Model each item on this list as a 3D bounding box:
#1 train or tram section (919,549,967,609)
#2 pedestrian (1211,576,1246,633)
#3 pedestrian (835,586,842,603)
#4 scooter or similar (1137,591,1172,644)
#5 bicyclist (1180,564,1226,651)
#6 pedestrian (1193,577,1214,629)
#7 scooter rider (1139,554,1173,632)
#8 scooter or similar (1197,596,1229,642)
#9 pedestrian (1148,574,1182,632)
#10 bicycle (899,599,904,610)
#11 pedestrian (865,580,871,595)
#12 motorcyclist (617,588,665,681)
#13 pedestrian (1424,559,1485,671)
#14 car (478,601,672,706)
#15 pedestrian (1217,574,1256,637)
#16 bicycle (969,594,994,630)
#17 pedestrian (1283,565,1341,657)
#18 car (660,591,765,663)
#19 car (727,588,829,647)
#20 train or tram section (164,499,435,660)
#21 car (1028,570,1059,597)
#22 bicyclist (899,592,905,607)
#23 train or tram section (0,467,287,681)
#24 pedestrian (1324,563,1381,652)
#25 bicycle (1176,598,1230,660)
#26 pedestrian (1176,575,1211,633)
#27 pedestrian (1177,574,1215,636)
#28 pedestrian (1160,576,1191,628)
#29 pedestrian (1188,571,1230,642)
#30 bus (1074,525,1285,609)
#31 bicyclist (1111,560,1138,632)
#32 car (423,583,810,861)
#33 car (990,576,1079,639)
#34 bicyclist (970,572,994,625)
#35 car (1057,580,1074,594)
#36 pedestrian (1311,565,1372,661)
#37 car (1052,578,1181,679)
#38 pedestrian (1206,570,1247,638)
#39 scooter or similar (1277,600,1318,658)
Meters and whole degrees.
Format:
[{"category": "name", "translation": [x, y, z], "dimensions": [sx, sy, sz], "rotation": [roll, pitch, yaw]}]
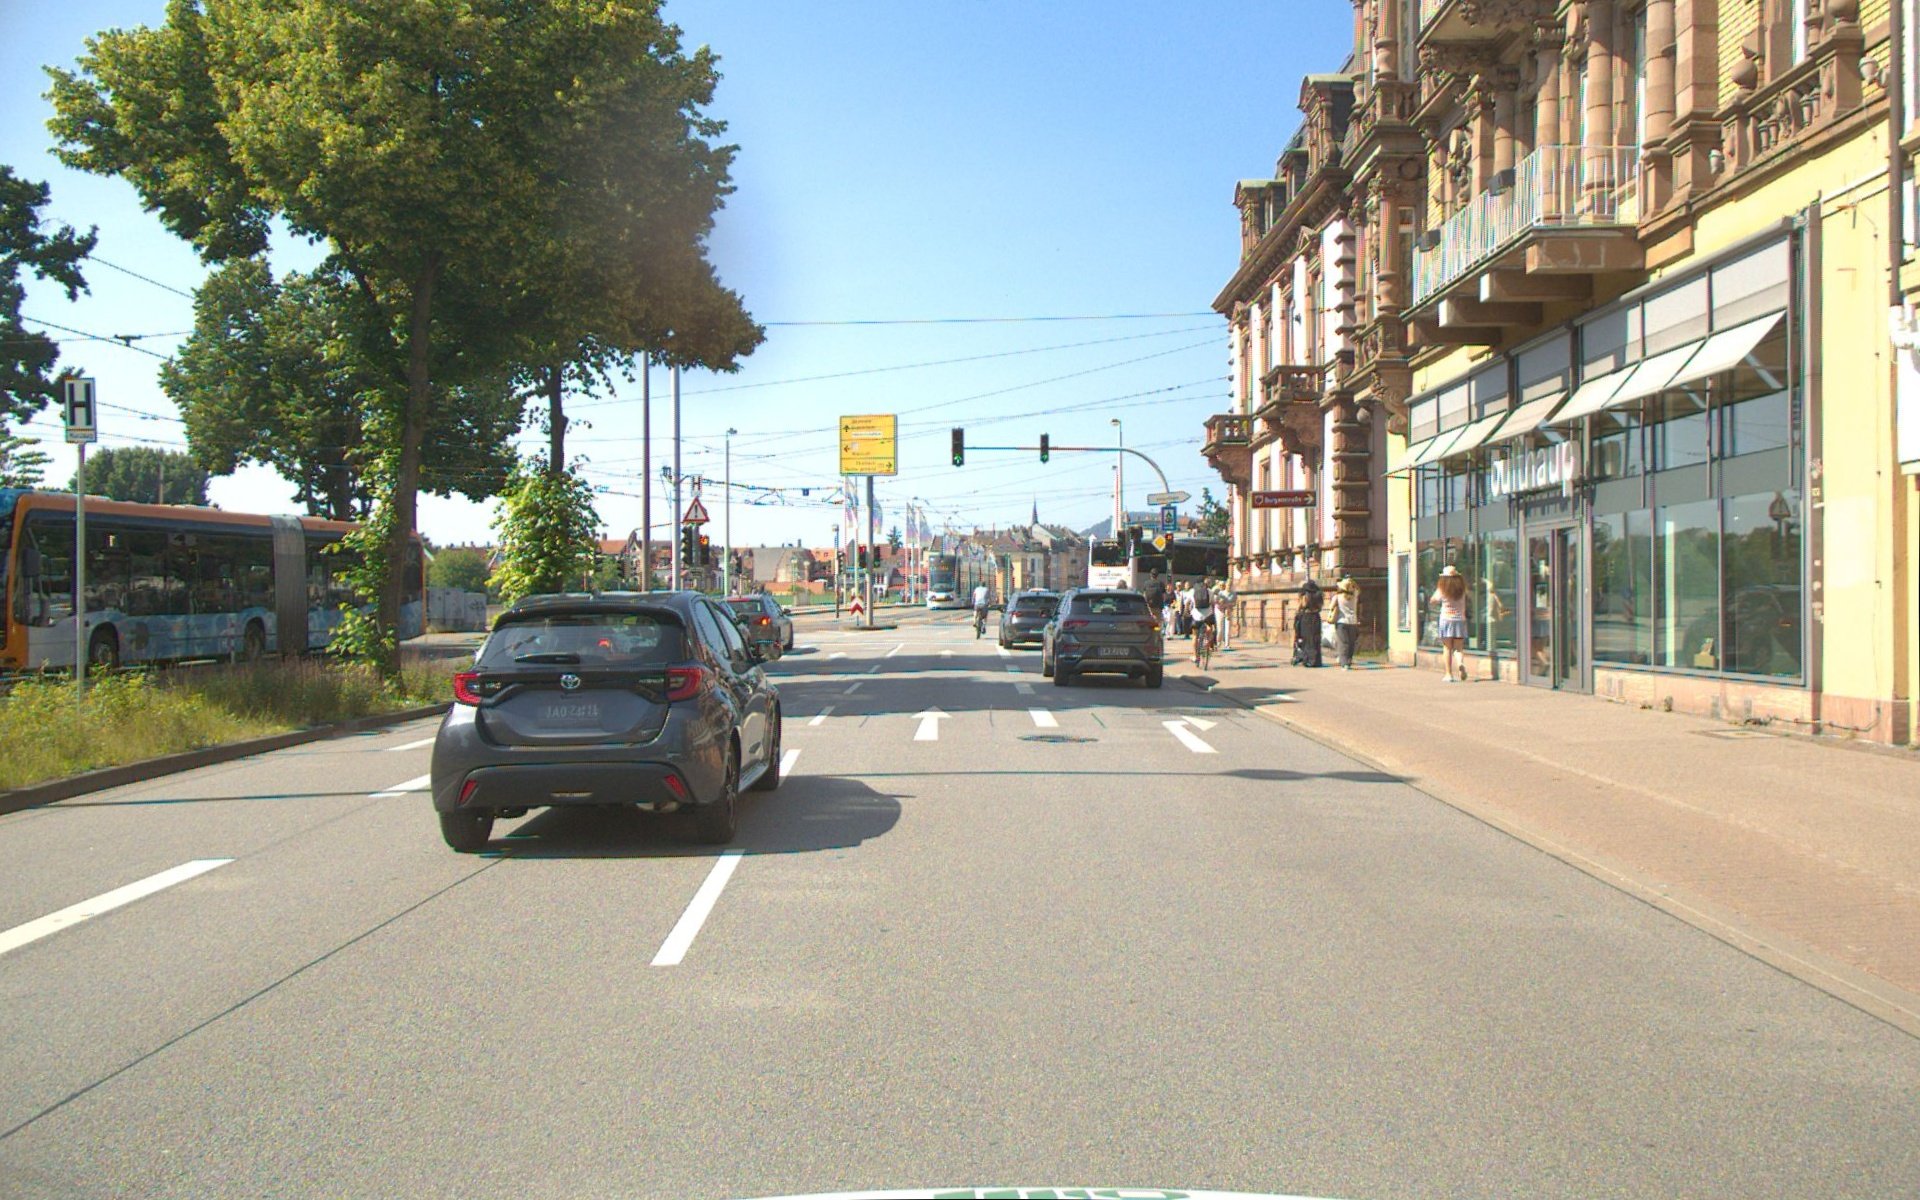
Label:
[{"category": "train or tram section", "translation": [-1.078, -1.427, 113.203], "dimensions": [2.764, 3.843, 8.229], "rotation": [2, 0, 2]}, {"category": "pedestrian", "translation": [8.090, 0.135, 49.902], "dimensions": [0.845, 1.669, 0.875], "rotation": [2, -1, -1]}, {"category": "pedestrian", "translation": [-10.407, -0.444, 141.291], "dimensions": [0.546, 1.440, 0.636], "rotation": [2, -1, -1]}, {"category": "scooter or similar", "translation": [4.462, 0.398, 37.959], "dimensions": [0.674, 1.188, 1.464], "rotation": [2, 0, 3]}, {"category": "bicyclist", "translation": [4.593, 0.140, 31.336], "dimensions": [0.674, 1.604, 1.049], "rotation": [2, -1, 0]}, {"category": "pedestrian", "translation": [7.995, 0.099, 54.315], "dimensions": [0.564, 1.669, 0.611], "rotation": [2, -1, -1]}, {"category": "scooter rider", "translation": [4.495, -0.149, 38.001], "dimensions": [0.674, 1.759, 0.778], "rotation": [2, -1, 3]}, {"category": "scooter or similar", "translation": [6.044, 0.459, 39.568], "dimensions": [0.588, 1.066, 0.799], "rotation": [2, 0, -2]}, {"category": "pedestrian", "translation": [6.085, 0.092, 49.099], "dimensions": [0.845, 1.669, 0.875], "rotation": [2, -1, -1]}, {"category": "bicycle", "translation": [-6.171, 0.465, 174.624], "dimensions": [0.546, 1.144, 1.222], "rotation": [2, 0, -1]}, {"category": "pedestrian", "translation": [-8.815, -1.217, 157.995], "dimensions": [0.546, 1.440, 0.636], "rotation": [2, -1, -1]}, {"category": "motorcyclist", "translation": [-5.588, 0.610, 29.019], "dimensions": [0.675, 1.583, 0.717], "rotation": [-2, -1, -2]}, {"category": "pedestrian", "translation": [7.439, 0.220, 24.899], "dimensions": [0.641, 1.649, 0.815], "rotation": [-1, 1, -1]}, {"category": "car", "translation": [-5.517, 0.730, 24.214], "dimensions": [1.778, 1.355, 4.001], "rotation": [2, 0, 1]}, {"category": "pedestrian", "translation": [7.438, 0.153, 44.498], "dimensions": [0.845, 1.669, 0.875], "rotation": [2, -1, -1]}, {"category": "bicycle", "translation": [0.663, 0.374, 51.888], "dimensions": [0.719, 1.112, 1.897], "rotation": [2, 0, -1]}, {"category": "pedestrian", "translation": [6.583, 0.210, 30.967], "dimensions": [0.845, 1.669, 0.875], "rotation": [2, -1, -1]}, {"category": "car", "translation": [-4.968, 0.527, 33.622], "dimensions": [1.421, 1.323, 4.001], "rotation": [2, 0, 1]}, {"category": "car", "translation": [-4.527, 0.424, 41.767], "dimensions": [1.995, 1.355, 4.001], "rotation": [2, 0, 1]}, {"category": "train or tram section", "translation": [-16.611, -0.452, 42.392], "dimensions": [2.762, 3.644, 8.231], "rotation": [2, 0, 6]}, {"category": "car", "translation": [5.197, -1.018, 103.120], "dimensions": [1.820, 1.533, 4.001], "rotation": [2, 0, 1]}, {"category": "bicyclist", "translation": [-6.151, -0.073, 174.605], "dimensions": [0.546, 1.563, 0.743], "rotation": [2, -1, -1]}, {"category": "train or tram section", "translation": [-17.190, -0.456, 33.259], "dimensions": [2.764, 3.644, 10.035], "rotation": [2, 0, 2]}, {"category": "pedestrian", "translation": [7.575, 0.149, 31.970], "dimensions": [0.845, 1.669, 0.875], "rotation": [2, -1, -1]}, {"category": "bicycle", "translation": [4.584, 0.540, 31.275], "dimensions": [0.719, 1.112, 1.898], "rotation": [2, 0, 0]}, {"category": "pedestrian", "translation": [6.983, 0.121, 49.487], "dimensions": [0.845, 1.669, 0.875], "rotation": [2, -1, -1]}, {"category": "pedestrian", "translation": [6.438, 0.139, 45.115], "dimensions": [0.845, 1.669, 0.875], "rotation": [2, -1, -1]}, {"category": "pedestrian", "translation": [7.066, 0.062, 54.142], "dimensions": [0.845, 1.669, 0.875], "rotation": [2, -1, -1]}, {"category": "pedestrian", "translation": [6.065, 0.160, 40.290], "dimensions": [0.845, 1.669, 0.875], "rotation": [2, -1, -1]}, {"category": "bus", "translation": [8.530, -1.207, 63.520], "dimensions": [8.554, 2.825, 2.938], "rotation": [2, -1, -39]}, {"category": "bicyclist", "translation": [4.582, -0.107, 46.164], "dimensions": [0.674, 1.996, 0.778], "rotation": [2, -1, 3]}, {"category": "car", "translation": [-2.087, 0.687, 11.178], "dimensions": [1.741, 1.501, 4.000], "rotation": [-1, 0, 0]}, {"category": "car", "translation": [1.896, 0.190, 43.204], "dimensions": [1.953, 1.519, 3.998], "rotation": [2, 0, -2]}, {"category": "bicyclist", "translation": [0.674, -0.050, 51.801], "dimensions": [0.674, 1.604, 1.049], "rotation": [2, -1, -1]}, {"category": "car", "translation": [12.730, -1.566, 199.399], "dimensions": [1.820, 1.533, 4.001], "rotation": [2, 0, 1]}, {"category": "pedestrian", "translation": [6.816, 0.219, 29.564], "dimensions": [0.845, 1.668, 0.875], "rotation": [-1, 1, -1]}, {"category": "car", "translation": [2.551, 0.450, 27.779], "dimensions": [1.835, 1.519, 4.001], "rotation": [2, 0, 1]}, {"category": "pedestrian", "translation": [6.677, 0.101, 41.473], "dimensions": [0.845, 1.669, 0.875], "rotation": [-1, 0, -1]}, {"category": "scooter or similar", "translation": [6.437, 0.547, 31.574], "dimensions": [0.588, 1.066, 0.799], "rotation": [2, 0, -2]}]
